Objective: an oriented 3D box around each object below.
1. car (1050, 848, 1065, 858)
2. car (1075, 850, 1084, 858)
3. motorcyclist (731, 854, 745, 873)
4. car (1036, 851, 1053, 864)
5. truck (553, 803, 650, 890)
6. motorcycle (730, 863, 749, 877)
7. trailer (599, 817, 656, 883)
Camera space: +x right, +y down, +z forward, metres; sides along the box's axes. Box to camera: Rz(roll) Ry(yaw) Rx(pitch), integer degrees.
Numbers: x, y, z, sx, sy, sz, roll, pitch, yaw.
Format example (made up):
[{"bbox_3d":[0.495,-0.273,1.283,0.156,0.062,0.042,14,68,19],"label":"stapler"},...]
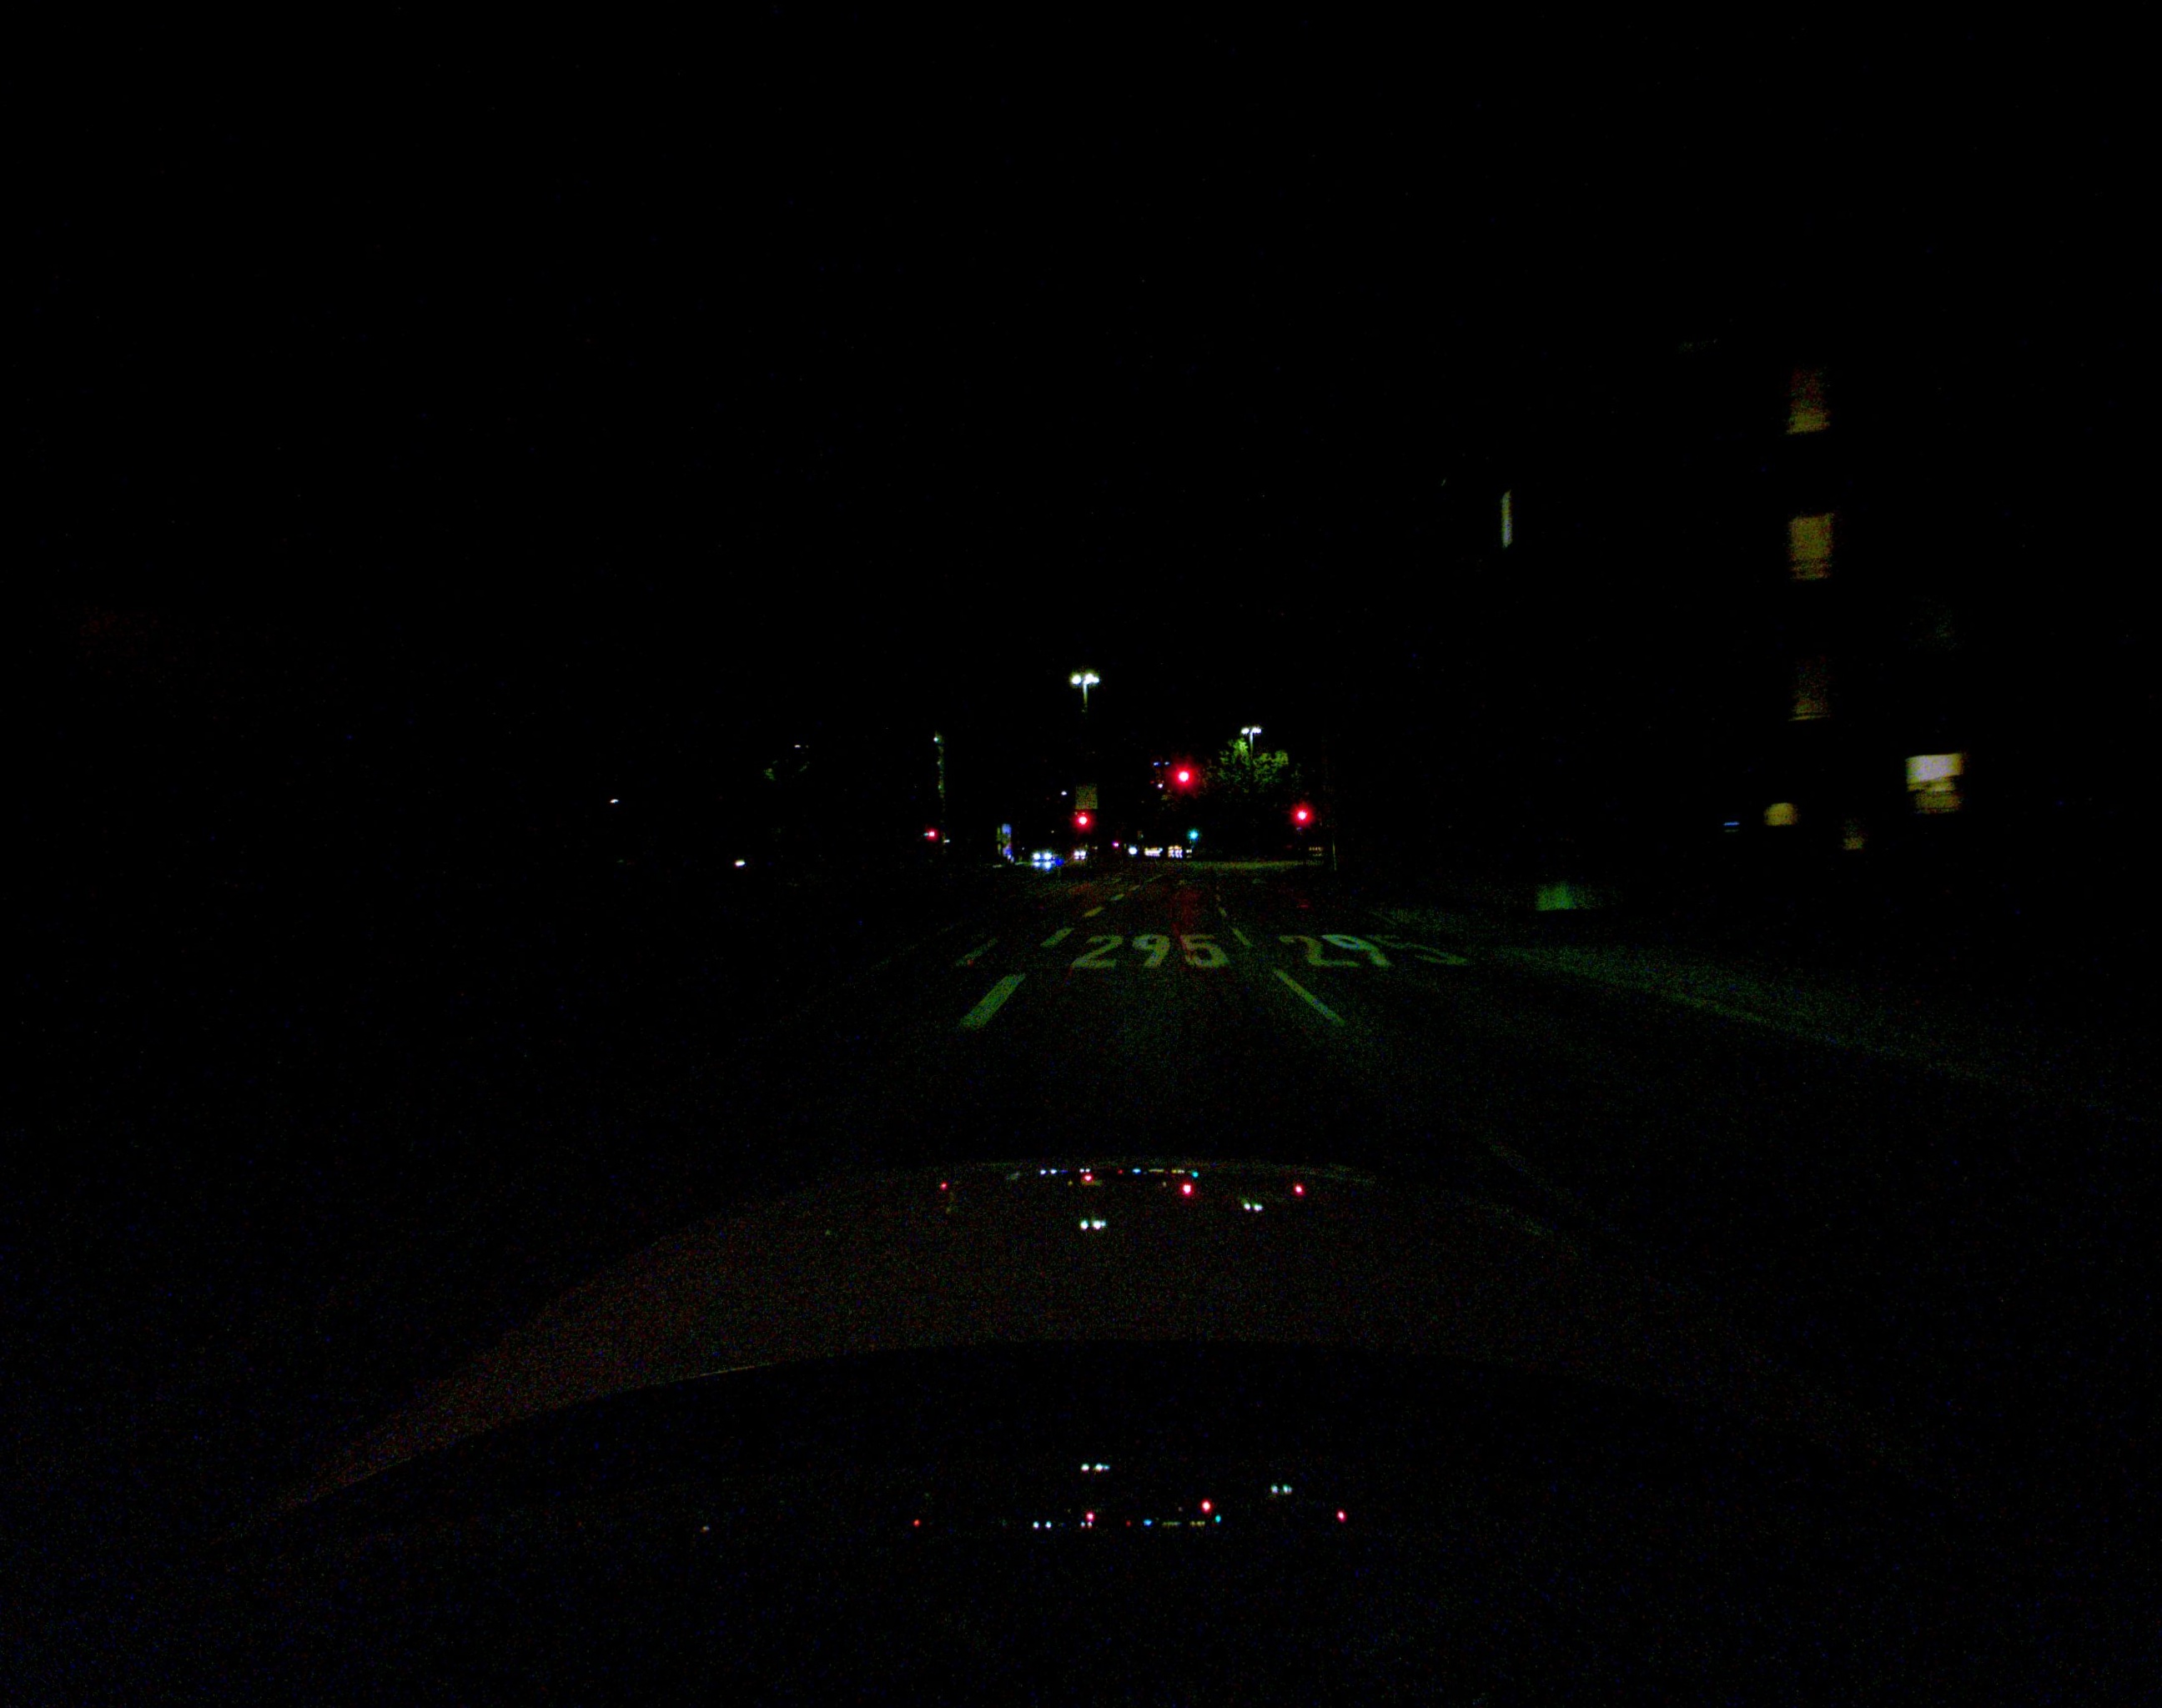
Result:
[{"bbox_3d":[-3.147,-0.134,111.745,1.750,1.322,3.550,-1,0,3],"label":"car"},{"bbox_3d":[-0.327,0.024,190.345,1.750,1.728,3.550,-1,0,3],"label":"car"},{"bbox_3d":[-22.903,0.610,54.375,0.652,1.261,0.572,-1,-1,-40],"label":"motorcyclist"},{"bbox_3d":[-4.464,0.371,99.423,1.609,1.515,4.004,-1,0,3],"label":"car"},{"bbox_3d":[-23.723,-0.306,40.794,2.951,3.796,9.483,-1,0,-23],"label":"truck"},{"bbox_3d":[-22.909,1.057,54.609,0.583,0.896,2.130,-4,1,-39],"label":"motorcycle"},{"bbox_3d":[-28.015,-0.233,50.542,2.626,3.791,6.459,-1,0,-25],"label":"trailer"}]
